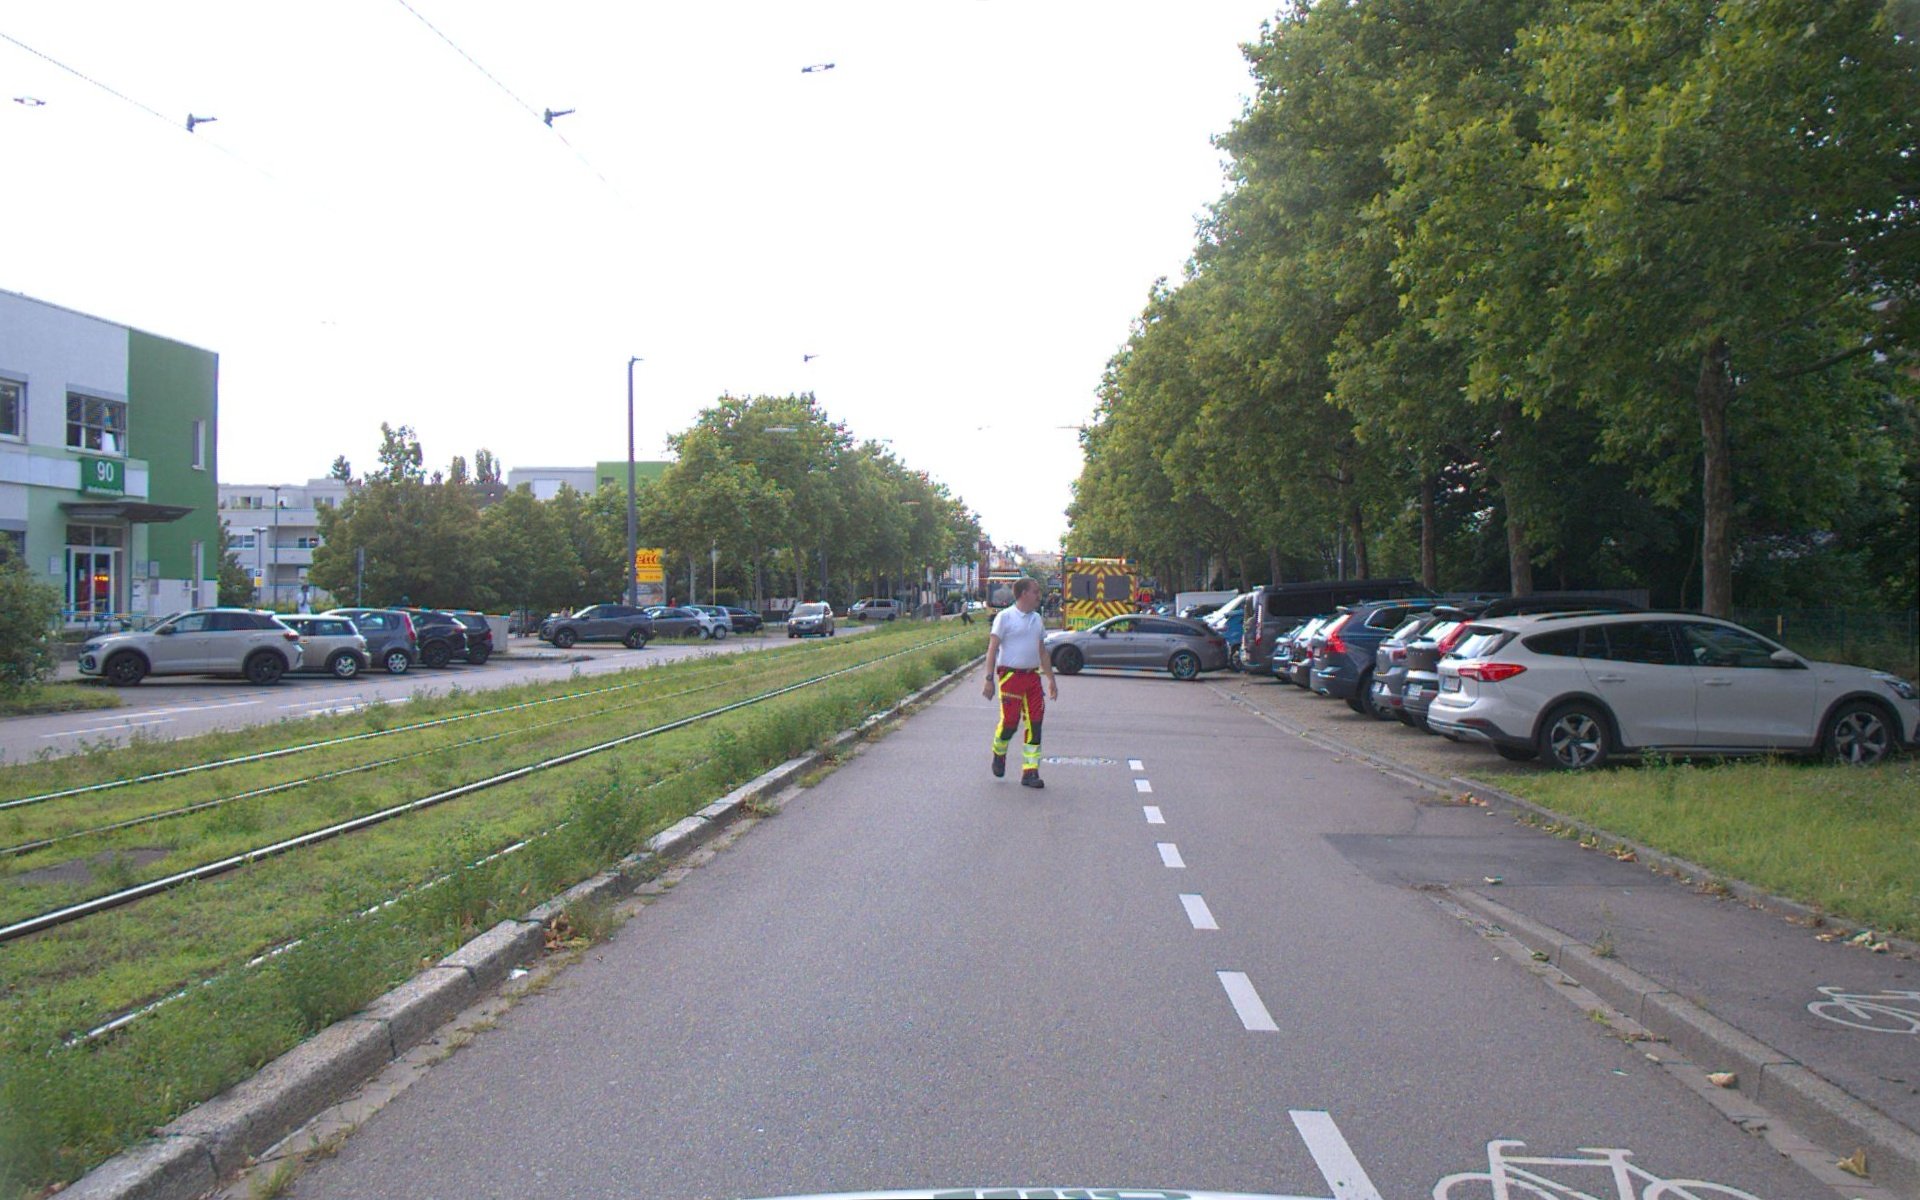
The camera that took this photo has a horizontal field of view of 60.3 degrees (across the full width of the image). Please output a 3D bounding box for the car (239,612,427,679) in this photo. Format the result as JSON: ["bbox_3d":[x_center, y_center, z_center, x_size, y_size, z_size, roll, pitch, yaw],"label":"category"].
[{"bbox_3d":[-15.215,1.062,40.163,4.168,1.508,1.868,0,0,-25],"label":"car"}]

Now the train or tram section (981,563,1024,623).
[{"bbox_3d":[2.836,-0.392,107.871,2.459,3.647,7.448,-1,-1,4],"label":"train or tram section"}]

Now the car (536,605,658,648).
[{"bbox_3d":[-13.322,0.966,60.666,4.160,1.508,1.872,1,-1,-21],"label":"car"}]

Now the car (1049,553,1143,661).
[{"bbox_3d":[4.250,0.221,51.097,2.586,3.018,6.303,3,0,6],"label":"car"}]

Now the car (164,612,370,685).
[{"bbox_3d":[-15.531,1.043,37.141,4.168,1.508,1.868,0,0,-25],"label":"car"}]

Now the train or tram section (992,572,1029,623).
[{"bbox_3d":[3.791,-0.132,122.723,2.459,3.647,7.448,-1,-1,4],"label":"train or tram section"}]

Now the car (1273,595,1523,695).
[{"bbox_3d":[7.678,0.772,29.163,3.889,1.633,1.753,-1,0,-7],"label":"car"}]

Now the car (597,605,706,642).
[{"bbox_3d":[-13.199,0.990,70.826,4.180,1.508,1.863,1,-1,-32],"label":"car"}]

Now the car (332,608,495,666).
[{"bbox_3d":[-15.273,1.009,46.247,4.168,1.508,1.868,0,0,-25],"label":"car"}]

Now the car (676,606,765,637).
[{"bbox_3d":[-12.279,1.101,84.936,4.187,1.508,1.860,1,-1,-36],"label":"car"}]

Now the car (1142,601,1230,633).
[{"bbox_3d":[12.067,0.896,88.661,4.452,1.637,1.856,-1,0,0],"label":"car"}]

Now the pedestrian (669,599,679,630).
[{"bbox_3d":[-16.163,0.813,93.503,0.456,1.706,0.603,0,0,2],"label":"pedestrian"}]

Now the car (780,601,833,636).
[{"bbox_3d":[-7.432,0.879,80.432,1.952,1.585,4.371,-1,0,3],"label":"car"}]

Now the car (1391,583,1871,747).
[{"bbox_3d":[7.309,0.684,18.353,4.562,1.654,1.848,-1,0,0],"label":"car"}]

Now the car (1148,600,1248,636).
[{"bbox_3d":[11.319,0.851,78.833,4.452,1.637,1.856,-1,0,0],"label":"car"}]

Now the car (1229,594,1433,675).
[{"bbox_3d":[8.694,0.796,39.045,4.450,1.797,1.856,-1,0,3],"label":"car"}]

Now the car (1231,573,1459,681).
[{"bbox_3d":[8.097,0.561,35.093,4.450,2.161,1.856,-1,0,3],"label":"car"}]

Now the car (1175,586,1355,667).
[{"bbox_3d":[8.095,0.697,44.175,4.452,2.036,1.856,-1,0,0],"label":"car"}]

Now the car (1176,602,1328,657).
[{"bbox_3d":[9.162,0.919,52.187,4.452,1.637,1.856,-1,0,0],"label":"car"}]

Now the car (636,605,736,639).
[{"bbox_3d":[-12.694,1.030,76.736,4.180,1.508,1.863,1,-1,-32],"label":"car"}]

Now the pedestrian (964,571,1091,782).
[{"bbox_3d":[0.560,0.626,13.968,0.792,1.716,0.846,1,-1,-21],"label":"pedestrian"}]

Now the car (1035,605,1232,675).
[{"bbox_3d":[4.026,0.901,38.178,4.358,1.410,1.768,2,0,10],"label":"car"}]

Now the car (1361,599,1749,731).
[{"bbox_3d":[7.388,0.793,20.888,4.288,1.527,1.757,-1,0,6],"label":"car"}]

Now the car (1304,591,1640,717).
[{"bbox_3d":[7.183,0.752,23.571,4.288,1.668,1.757,-1,0,6],"label":"car"}]

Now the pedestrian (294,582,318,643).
[{"bbox_3d":[-20.212,0.383,51.128,0.534,1.860,0.509,0,0,2],"label":"pedestrian"}]

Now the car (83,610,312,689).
[{"bbox_3d":[-15.744,0.981,34.201,4.177,1.508,1.864,0,0,-30],"label":"car"}]

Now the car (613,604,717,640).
[{"bbox_3d":[-13.142,0.981,73.723,4.180,1.508,1.863,1,-1,-32],"label":"car"}]

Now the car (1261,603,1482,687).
[{"bbox_3d":[7.915,0.864,32.049,3.882,1.520,1.757,-1,-1,3],"label":"car"}]

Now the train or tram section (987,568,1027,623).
[{"bbox_3d":[3.309,-0.263,115.291,2.459,3.647,7.448,-1,-1,4],"label":"train or tram section"}]

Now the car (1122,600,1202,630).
[{"bbox_3d":[11.814,0.882,96.940,4.452,1.637,1.856,-1,0,0],"label":"car"}]

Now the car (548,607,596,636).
[{"bbox_3d":[-25.751,1.422,109.792,1.952,1.780,4.002,2,0,4],"label":"car"}]

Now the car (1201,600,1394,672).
[{"bbox_3d":[8.433,0.882,41.604,4.453,1.689,1.855,-1,0,-1],"label":"car"}]

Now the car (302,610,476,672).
[{"bbox_3d":[-14.929,1.035,43.244,4.168,1.508,1.868,0,0,-25],"label":"car"}]

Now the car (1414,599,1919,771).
[{"bbox_3d":[6.964,0.779,16.134,4.562,1.499,1.848,-1,0,0],"label":"car"}]

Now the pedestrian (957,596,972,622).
[{"bbox_3d":[0.298,0.575,103.508,0.862,1.552,0.751,2,-1,3],"label":"pedestrian"}]

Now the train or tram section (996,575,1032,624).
[{"bbox_3d":[4.279,-0.002,130.138,2.459,3.647,7.448,-1,-1,4],"label":"train or tram section"}]

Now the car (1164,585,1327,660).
[{"bbox_3d":[8.370,0.653,48.764,4.452,2.079,1.856,-1,0,0],"label":"car"}]

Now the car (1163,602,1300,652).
[{"bbox_3d":[9.378,0.916,57.345,4.452,1.637,1.856,-1,0,0],"label":"car"}]

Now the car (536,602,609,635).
[{"bbox_3d":[-22.266,1.067,95.047,3.920,1.780,1.993,2,0,36],"label":"car"}]

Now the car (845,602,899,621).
[{"bbox_3d":[-7.935,1.025,149.362,4.574,1.661,1.860,0,0,-35],"label":"car"}]
